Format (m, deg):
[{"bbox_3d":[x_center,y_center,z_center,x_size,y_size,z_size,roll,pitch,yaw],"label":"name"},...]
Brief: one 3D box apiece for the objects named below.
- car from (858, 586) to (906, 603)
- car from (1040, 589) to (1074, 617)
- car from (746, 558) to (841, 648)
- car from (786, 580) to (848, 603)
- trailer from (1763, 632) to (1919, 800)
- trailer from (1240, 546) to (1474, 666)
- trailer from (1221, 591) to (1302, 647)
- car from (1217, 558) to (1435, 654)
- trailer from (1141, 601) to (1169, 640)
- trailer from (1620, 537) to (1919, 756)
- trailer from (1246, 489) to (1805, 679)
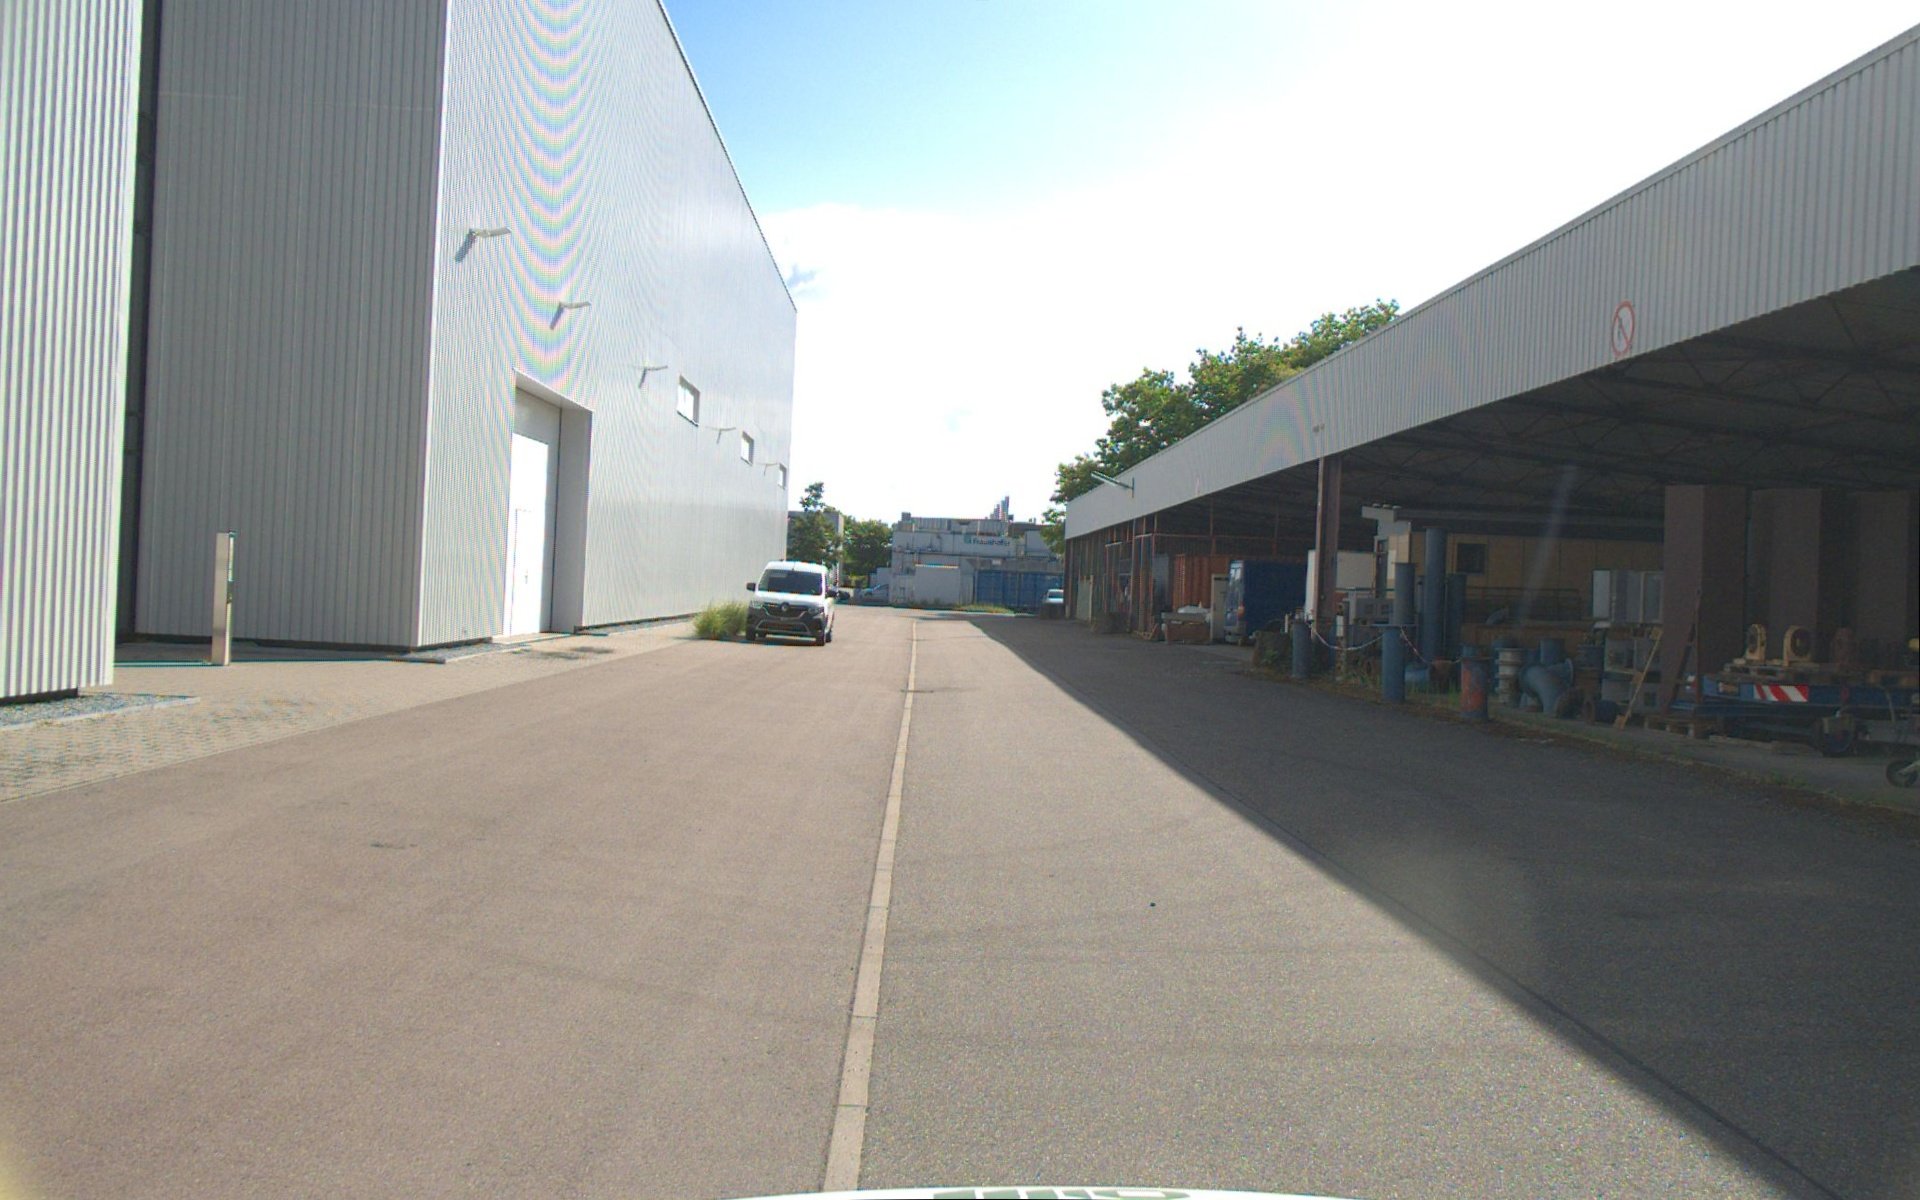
[{"bbox_3d":[-6.934,-0.476,147.984,4.216,1.483,1.823,1,0,-2],"label":"car"},{"bbox_3d":[6.332,0.169,108.039,1.939,1.630,4.377,1,2,0],"label":"car"},{"bbox_3d":[-3.776,0.069,38.213,1.748,1.847,4.600,4,0,-2],"label":"car"},{"bbox_3d":[-10.321,-0.578,119.977,4.358,1.558,1.823,1,0,-2],"label":"car"},{"bbox_3d":[9.745,0.922,13.372,5.614,1.206,1.973,1,0,-3],"label":"trailer"},{"bbox_3d":[8.328,0.129,34.998,4.424,2.383,2.047,1,0,-1],"label":"trailer"},{"bbox_3d":[8.450,0.517,46.413,1.996,1.492,1.739,1,0,2],"label":"trailer"},{"bbox_3d":[9.630,0.164,43.836,5.225,2.321,2.152,2,0,-3],"label":"car"},{"bbox_3d":[5.827,0.613,49.442,0.541,1.138,1.546,1,0,-3],"label":"trailer"},{"bbox_3d":[9.265,0.460,16.695,4.332,2.025,2.163,1,0,0],"label":"trailer"},{"bbox_3d":[10.924,-0.311,32.580,10.060,3.401,2.800,1,0,-1],"label":"trailer"}]
